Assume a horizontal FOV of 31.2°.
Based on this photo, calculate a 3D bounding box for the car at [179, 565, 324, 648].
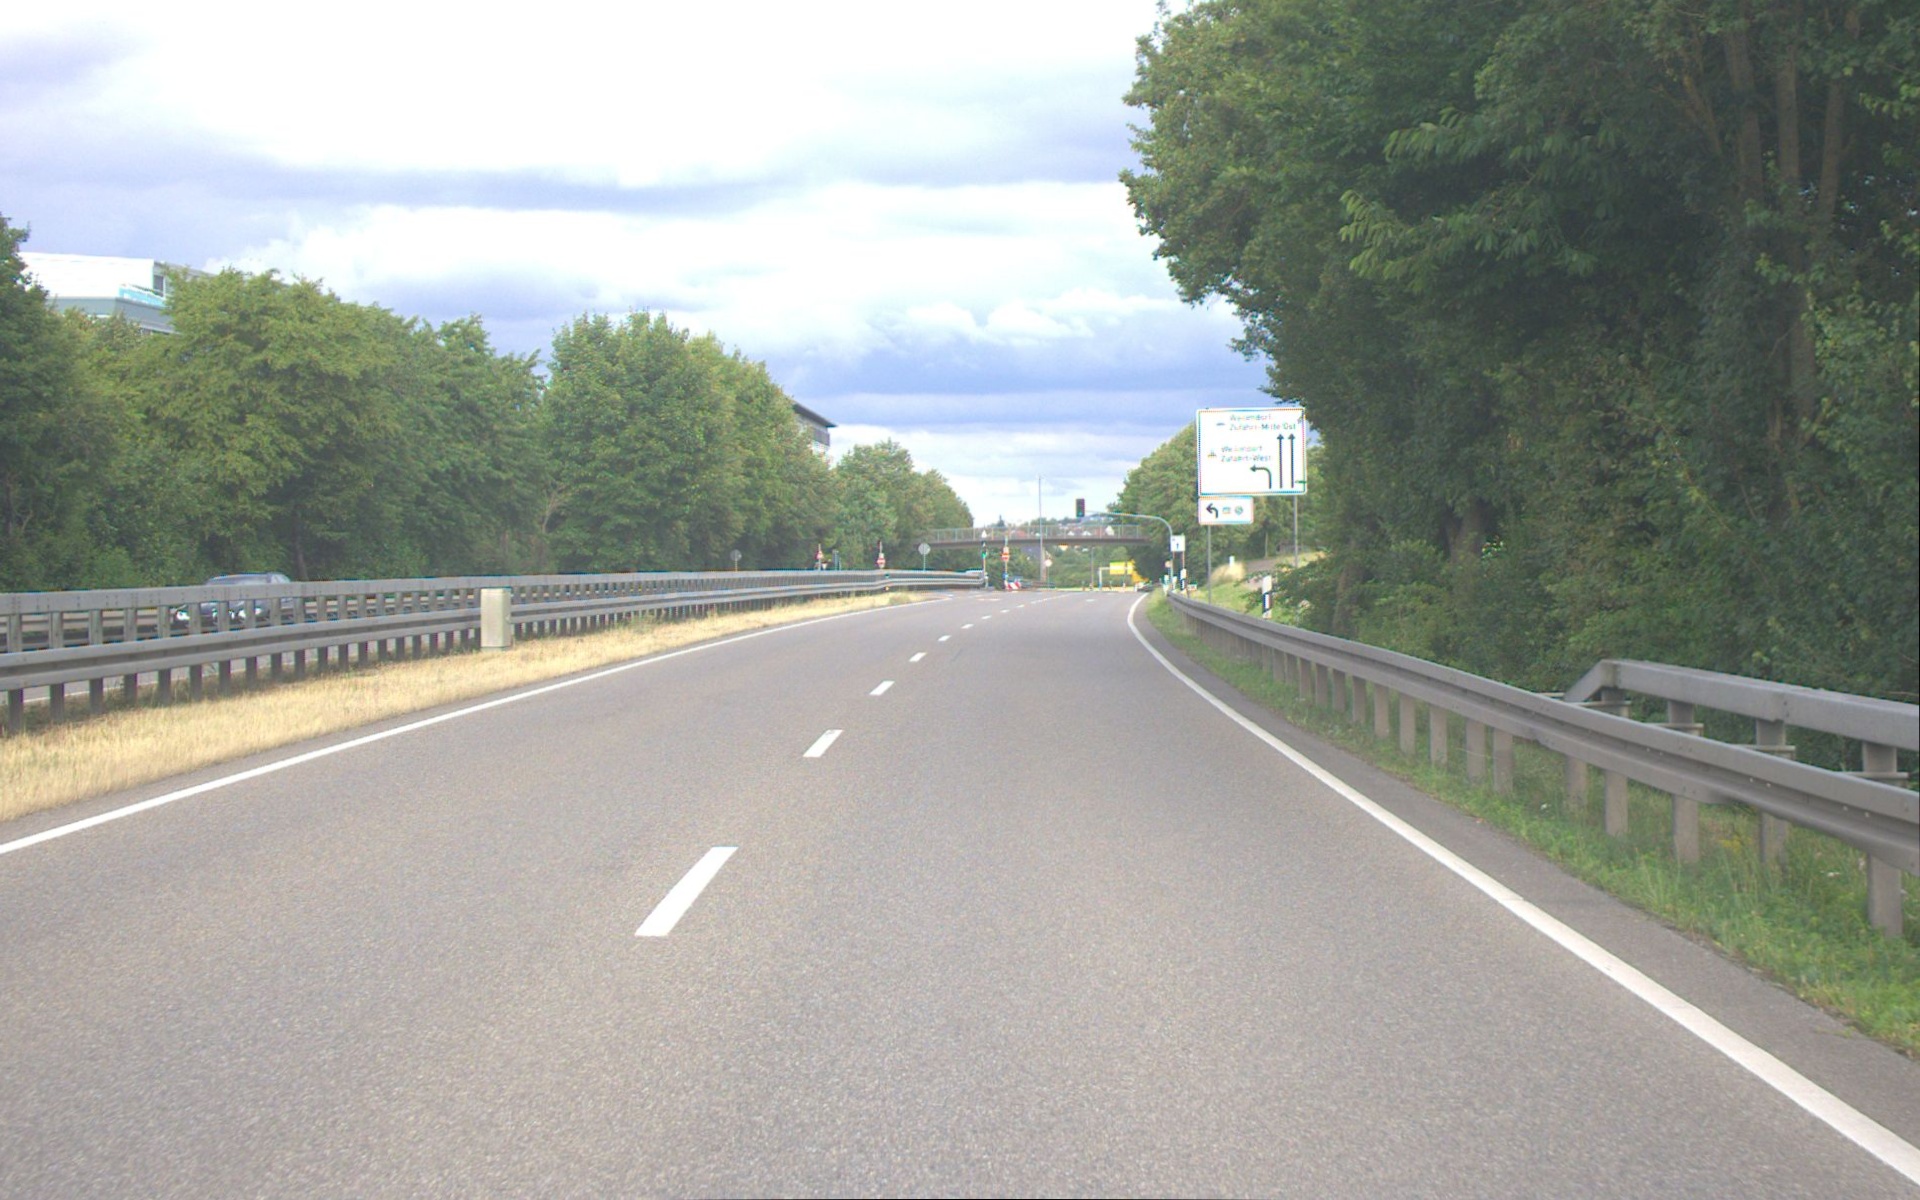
[{"bbox_3d":[-14.060,0.099,68.485,1.824,1.539,4.587,-2,1,1],"label":"car"}]
